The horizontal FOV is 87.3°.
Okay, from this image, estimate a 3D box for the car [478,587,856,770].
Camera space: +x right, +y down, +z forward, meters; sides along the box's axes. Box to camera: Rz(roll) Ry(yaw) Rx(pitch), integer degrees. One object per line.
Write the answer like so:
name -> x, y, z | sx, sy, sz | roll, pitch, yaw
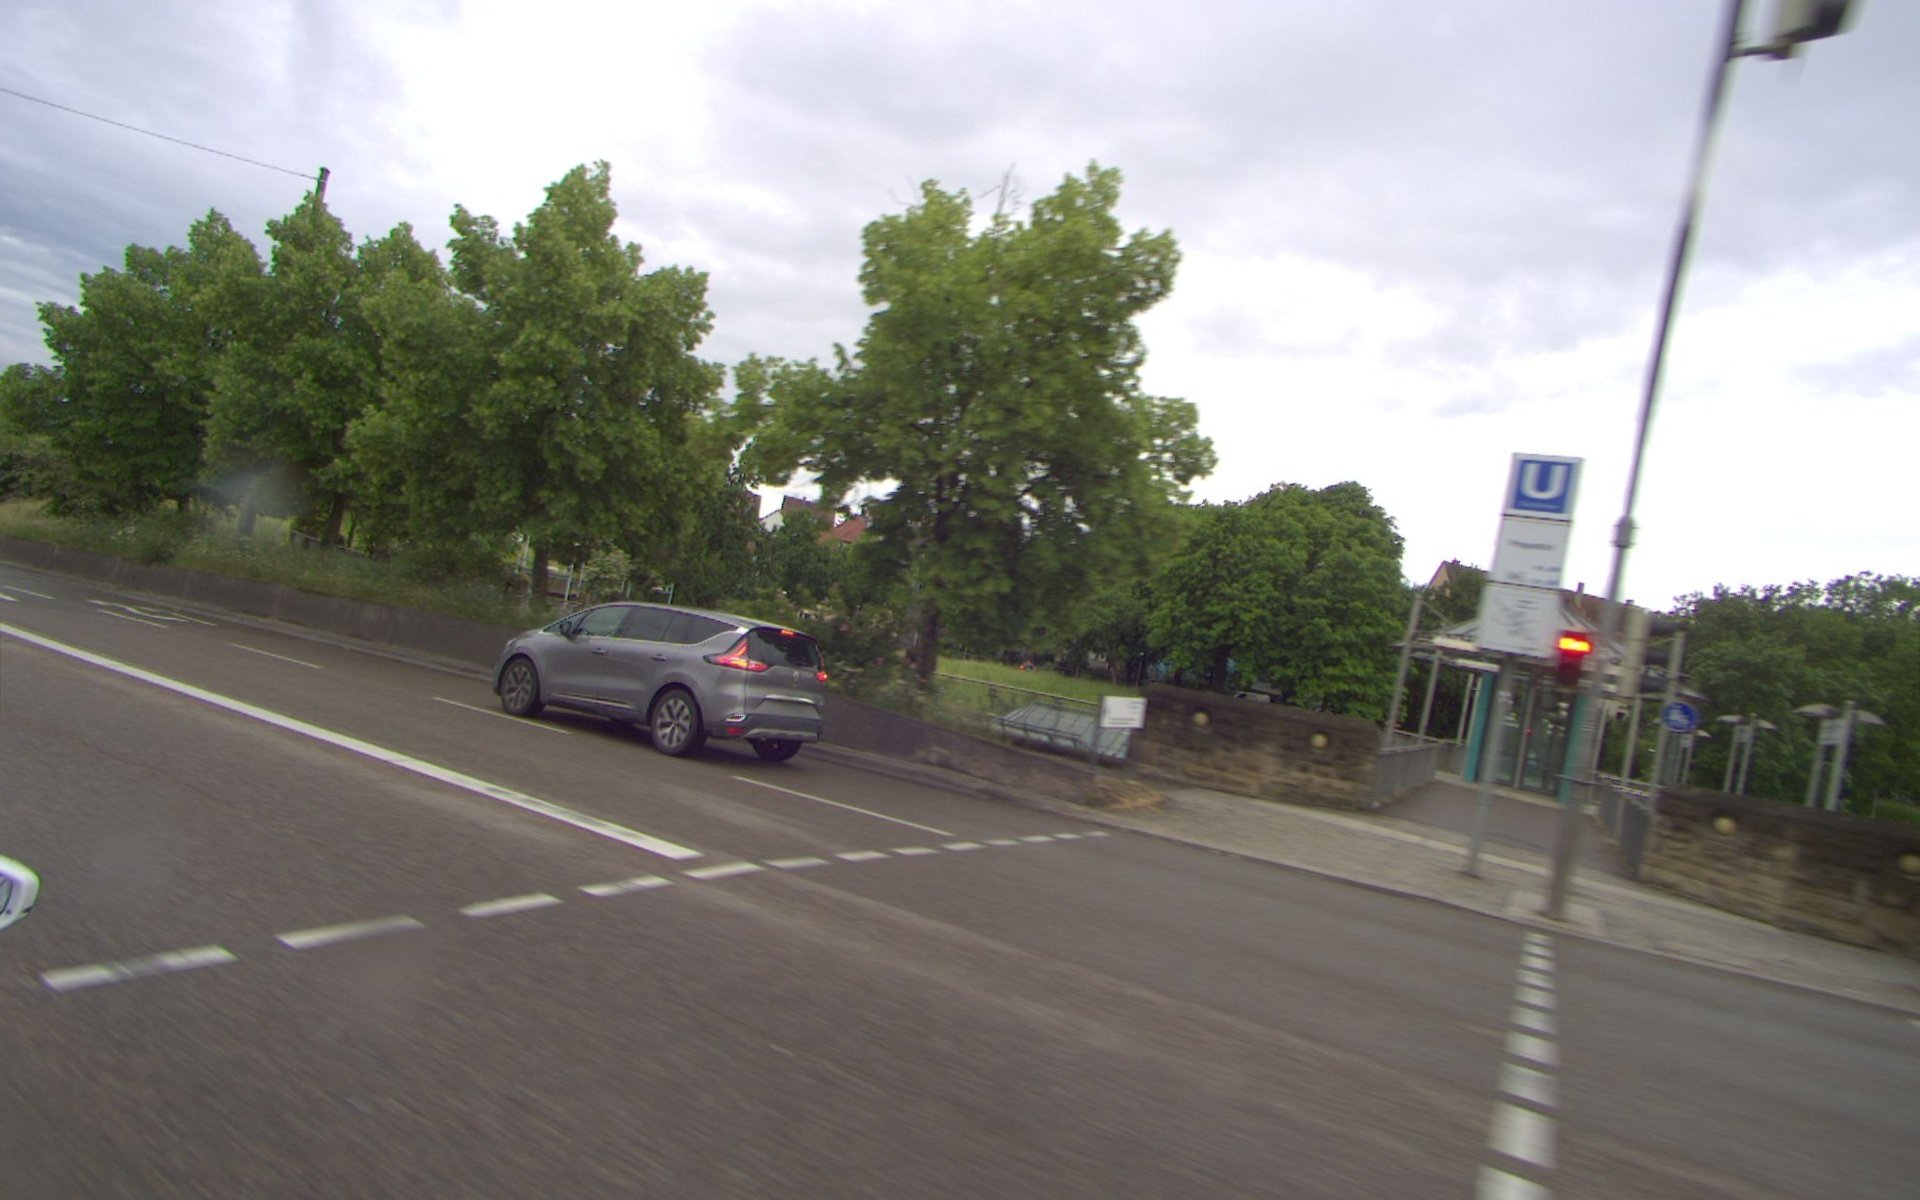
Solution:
car -> -3.688, 0.915, 12.400 | 4.551, 1.665, 1.731 | 4, -7, 33
